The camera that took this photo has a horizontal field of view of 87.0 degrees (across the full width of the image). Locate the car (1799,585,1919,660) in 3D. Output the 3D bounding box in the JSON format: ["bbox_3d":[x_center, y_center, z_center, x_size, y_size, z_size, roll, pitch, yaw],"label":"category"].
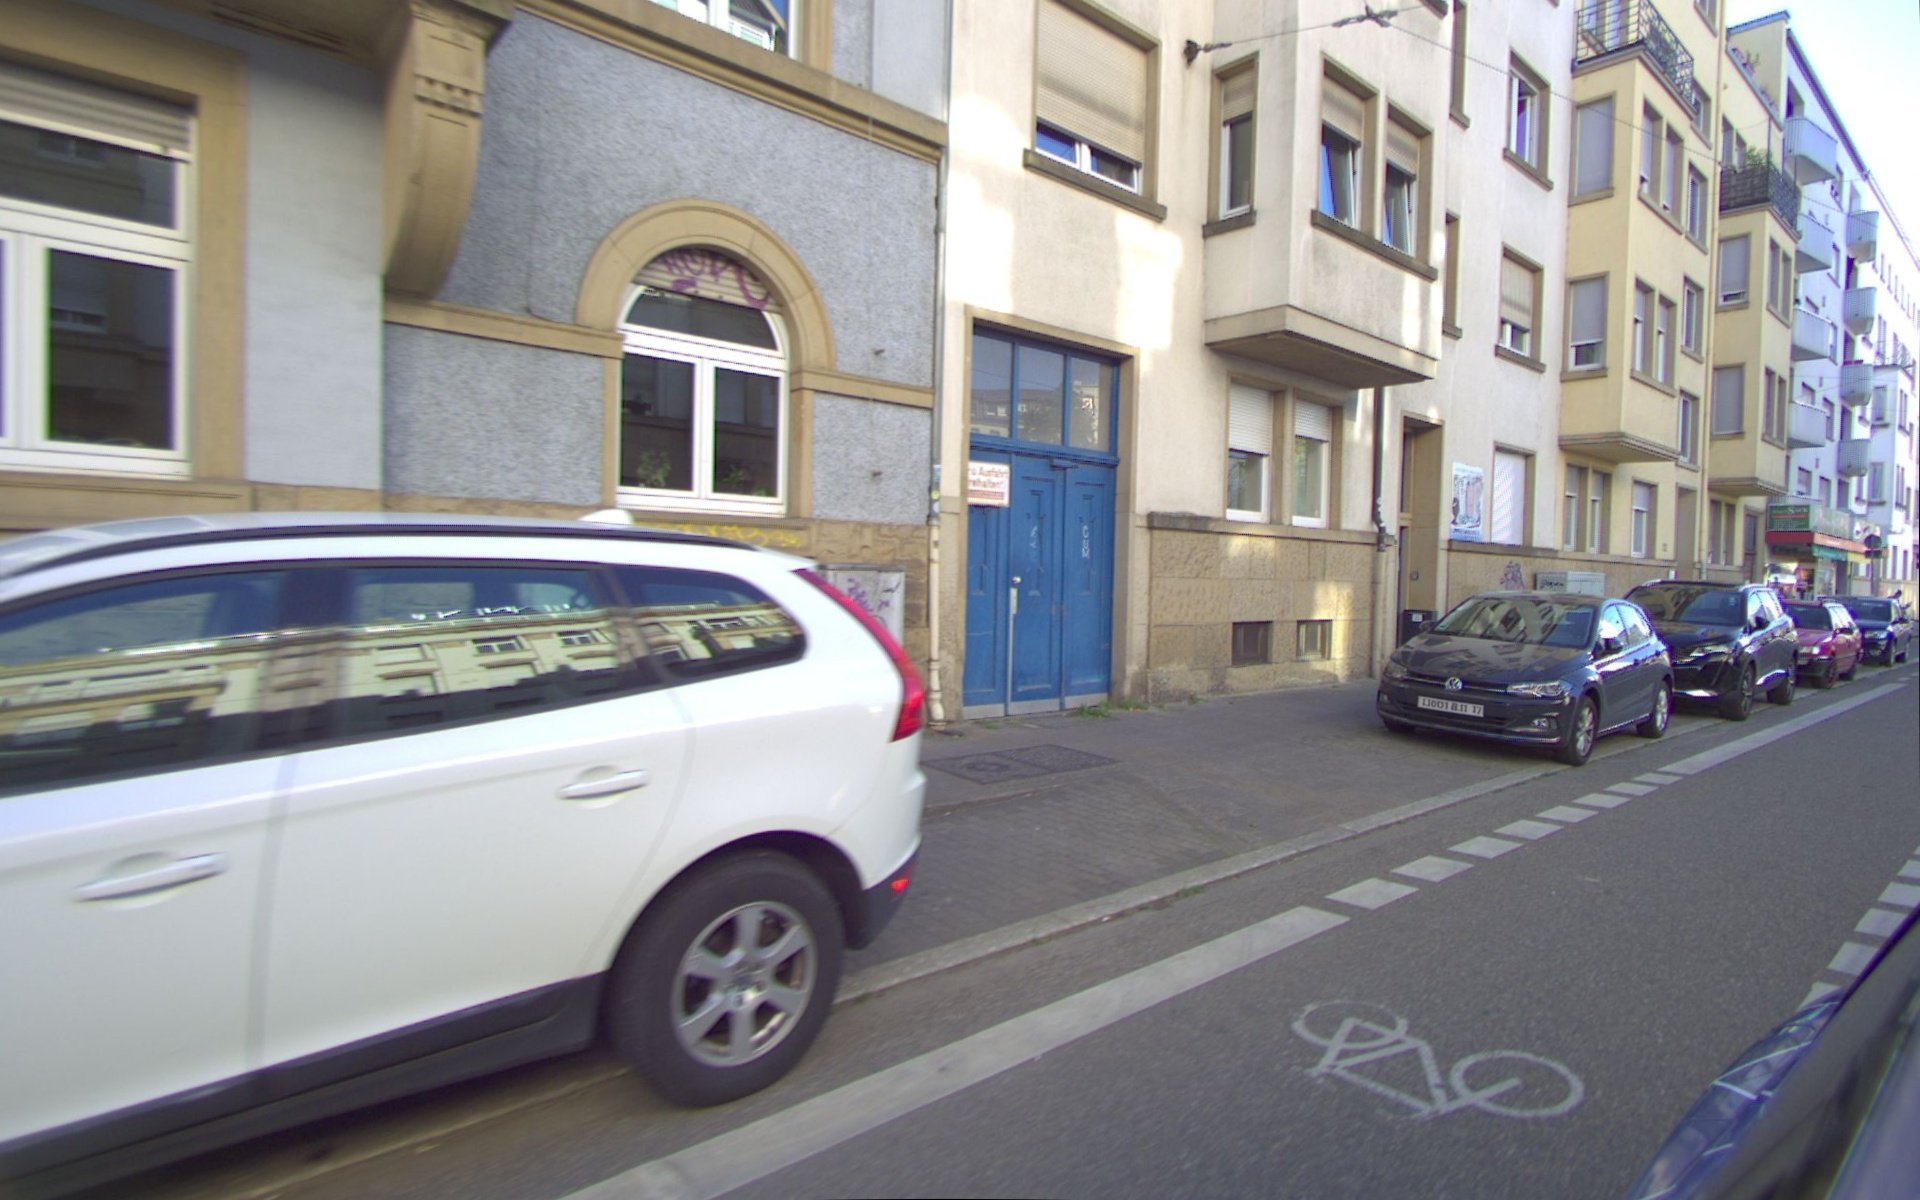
[{"bbox_3d":[20.851,0.445,23.255,3.931,1.509,1.722,-1,4,-41],"label":"car"}]

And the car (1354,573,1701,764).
[{"bbox_3d":[5.652,0.503,9.878,3.963,1.459,1.740,-1,2,-42],"label":"car"}]

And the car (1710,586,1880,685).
[{"bbox_3d":[14.844,0.516,17.898,1.860,1.473,4.633,3,3,45],"label":"car"}]

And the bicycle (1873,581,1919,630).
[{"bbox_3d":[34.784,0.190,37.027,0.762,1.732,1.935,0,1,-40],"label":"bicycle"}]

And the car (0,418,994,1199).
[{"bbox_3d":[-2.168,0.494,2.657,4.426,1.711,1.847,-1,2,-41],"label":"car"}]

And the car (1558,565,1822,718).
[{"bbox_3d":[9.789,0.418,13.428,4.482,1.686,1.862,-1,2,-41],"label":"car"}]

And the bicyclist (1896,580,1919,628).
[{"bbox_3d":[34.905,0.156,37.056,0.500,1.723,0.845,0,1,-37],"label":"bicyclist"}]

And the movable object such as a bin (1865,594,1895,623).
[{"bbox_3d":[36.196,0.330,39.812,0.607,1.085,0.771,0,2,-41],"label":"movable object such as a bin"}]
